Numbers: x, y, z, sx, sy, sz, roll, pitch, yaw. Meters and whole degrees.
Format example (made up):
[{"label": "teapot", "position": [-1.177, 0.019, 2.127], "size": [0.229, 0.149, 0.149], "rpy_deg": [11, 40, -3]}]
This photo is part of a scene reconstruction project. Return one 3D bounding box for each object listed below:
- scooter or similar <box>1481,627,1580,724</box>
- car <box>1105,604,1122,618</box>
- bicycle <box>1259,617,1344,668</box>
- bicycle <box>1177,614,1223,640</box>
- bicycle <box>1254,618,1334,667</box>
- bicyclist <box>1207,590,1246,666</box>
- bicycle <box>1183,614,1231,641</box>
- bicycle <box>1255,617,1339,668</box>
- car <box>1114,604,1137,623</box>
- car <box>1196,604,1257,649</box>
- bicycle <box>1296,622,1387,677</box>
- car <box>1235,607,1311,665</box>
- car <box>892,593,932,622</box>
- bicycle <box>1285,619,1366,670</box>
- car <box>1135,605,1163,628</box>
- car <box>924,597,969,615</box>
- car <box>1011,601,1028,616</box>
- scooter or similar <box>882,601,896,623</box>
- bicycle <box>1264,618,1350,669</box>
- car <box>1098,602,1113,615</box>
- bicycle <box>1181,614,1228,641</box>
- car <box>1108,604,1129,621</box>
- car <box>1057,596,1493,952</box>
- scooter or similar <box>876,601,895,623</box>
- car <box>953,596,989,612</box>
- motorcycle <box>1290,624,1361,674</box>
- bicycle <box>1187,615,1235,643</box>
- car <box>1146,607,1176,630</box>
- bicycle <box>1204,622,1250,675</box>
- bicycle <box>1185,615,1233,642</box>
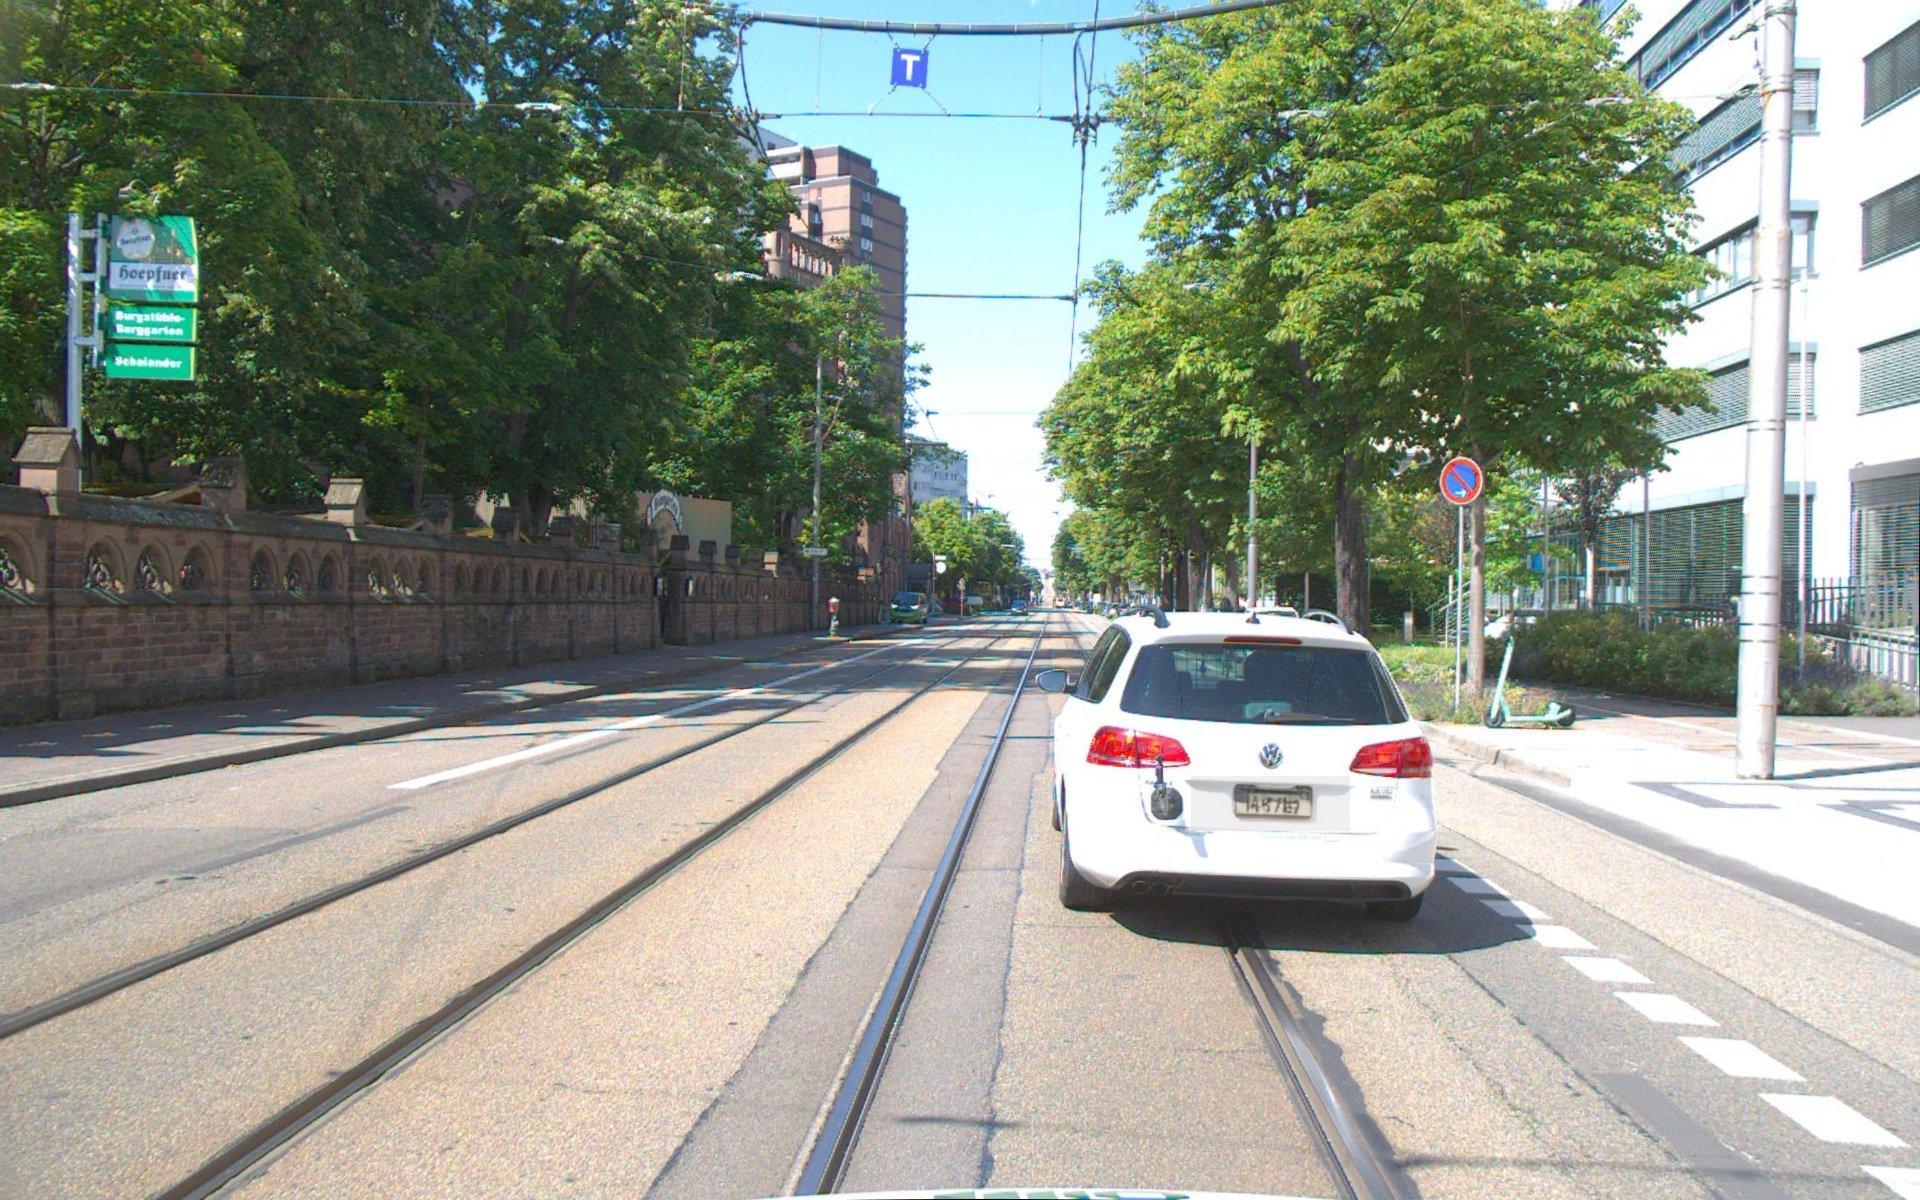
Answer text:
[{"label": "scooter or similar", "position": [7.273, 0.954, 21.115], "size": [1.118, 1.174, 0.493], "rpy_deg": [1, 0, 9]}, {"label": "car", "position": [15.809, 1.153, 170.682], "size": [1.677, 1.426, 3.845], "rpy_deg": [0, 0, 4]}, {"label": "bicycle", "position": [8.184, 1.022, 39.641], "size": [1.872, 1.101, 0.551], "rpy_deg": [3, 0, 1]}, {"label": "bicycle", "position": [9.513, 1.057, 65.553], "size": [1.751, 1.028, 0.488], "rpy_deg": [0, 0, -2]}, {"label": "bicycle", "position": [8.251, 1.045, 40.894], "size": [1.847, 1.101, 0.551], "rpy_deg": [3, 0, 1]}, {"label": "bicyclist", "position": [5.884, 0.620, 36.499], "size": [0.769, 1.658, 0.738], "rpy_deg": [0, 0, 3]}, {"label": "bicycle", "position": [9.505, 1.073, 63.694], "size": [1.751, 1.028, 0.488], "rpy_deg": [0, 0, -2]}, {"label": "bicycle", "position": [8.199, 1.029, 40.254], "size": [1.872, 1.101, 0.551], "rpy_deg": [3, 0, 1]}, {"label": "car", "position": [12.734, 1.053, 127.518], "size": [1.677, 1.426, 3.845], "rpy_deg": [0, 0, 4]}, {"label": "car", "position": [9.111, 0.878, 56.812], "size": [1.629, 1.469, 4.635], "rpy_deg": [0, 0, 4]}, {"label": "bicycle", "position": [7.842, 1.023, 34.054], "size": [1.737, 1.102, 0.596], "rpy_deg": [0, 0, 1]}, {"label": "car", "position": [8.419, 0.933, 44.675], "size": [1.557, 1.476, 3.948], "rpy_deg": [0, 0, 4]}, {"label": "car", "position": [-3.023, 0.461, 105.448], "size": [1.951, 1.788, 4.715], "rpy_deg": [0, 0, 6]}, {"label": "bicycle", "position": [8.340, 1.008, 37.781], "size": [1.737, 1.139, 0.596], "rpy_deg": [0, 0, 1]}, {"label": "car", "position": [12.097, 1.053, 105.918], "size": [1.677, 1.426, 3.845], "rpy_deg": [0, 0, 5]}, {"label": "car", "position": [-1.325, 0.592, 164.348], "size": [4.053, 1.557, 1.923], "rpy_deg": [3, 0, -18]}, {"label": "car", "position": [5.810, 0.831, 161.456], "size": [1.462, 1.409, 3.644], "rpy_deg": [0, 0, 4]}, {"label": "scooter or similar", "position": [-3.984, 0.650, 92.805], "size": [0.413, 1.222, 1.144], "rpy_deg": [0, 0, 18]}, {"label": "bicycle", "position": [8.189, 1.029, 39.040], "size": [1.872, 1.101, 0.551], "rpy_deg": [3, 0, 1]}, {"label": "car", "position": [16.749, 0.951, 190.428], "size": [1.677, 1.426, 3.845], "rpy_deg": [0, 0, 4]}, {"label": "bicycle", "position": [9.495, 1.067, 64.279], "size": [1.751, 1.028, 0.488], "rpy_deg": [0, 0, -2]}, {"label": "car", "position": [13.988, 1.086, 145.860], "size": [1.677, 1.426, 3.844], "rpy_deg": [0, 0, 3]}, {"label": "car", "position": [1.451, 0.741, 9.158], "size": [1.717, 1.467, 4.413], "rpy_deg": [1, 0, 2]}, {"label": "scooter or similar", "position": [-4.003, 0.635, 89.248], "size": [0.398, 1.175, 1.138], "rpy_deg": [0, 0, 37]}, {"label": "car", "position": [1.321, 0.503, 197.705], "size": [3.949, 1.847, 1.978], "rpy_deg": [0, 0, -32]}, {"label": "motorcycle", "position": [7.997, 1.071, 36.201], "size": [1.435, 1.064, 0.534], "rpy_deg": [0, 0, 1]}, {"label": "bicycle", "position": [9.491, 1.082, 62.532], "size": [1.751, 1.028, 0.488], "rpy_deg": [0, 0, -2]}, {"label": "car", "position": [11.702, 1.063, 96.014], "size": [1.677, 1.303, 3.846], "rpy_deg": [0, 0, 8]}, {"label": "bicycle", "position": [5.853, 1.048, 36.349], "size": [0.794, 1.097, 2.013], "rpy_deg": [1, 0, 4]}, {"label": "bicycle", "position": [9.495, 1.077, 63.117], "size": [1.751, 1.028, 0.488], "rpy_deg": [0, 0, -2]}]
